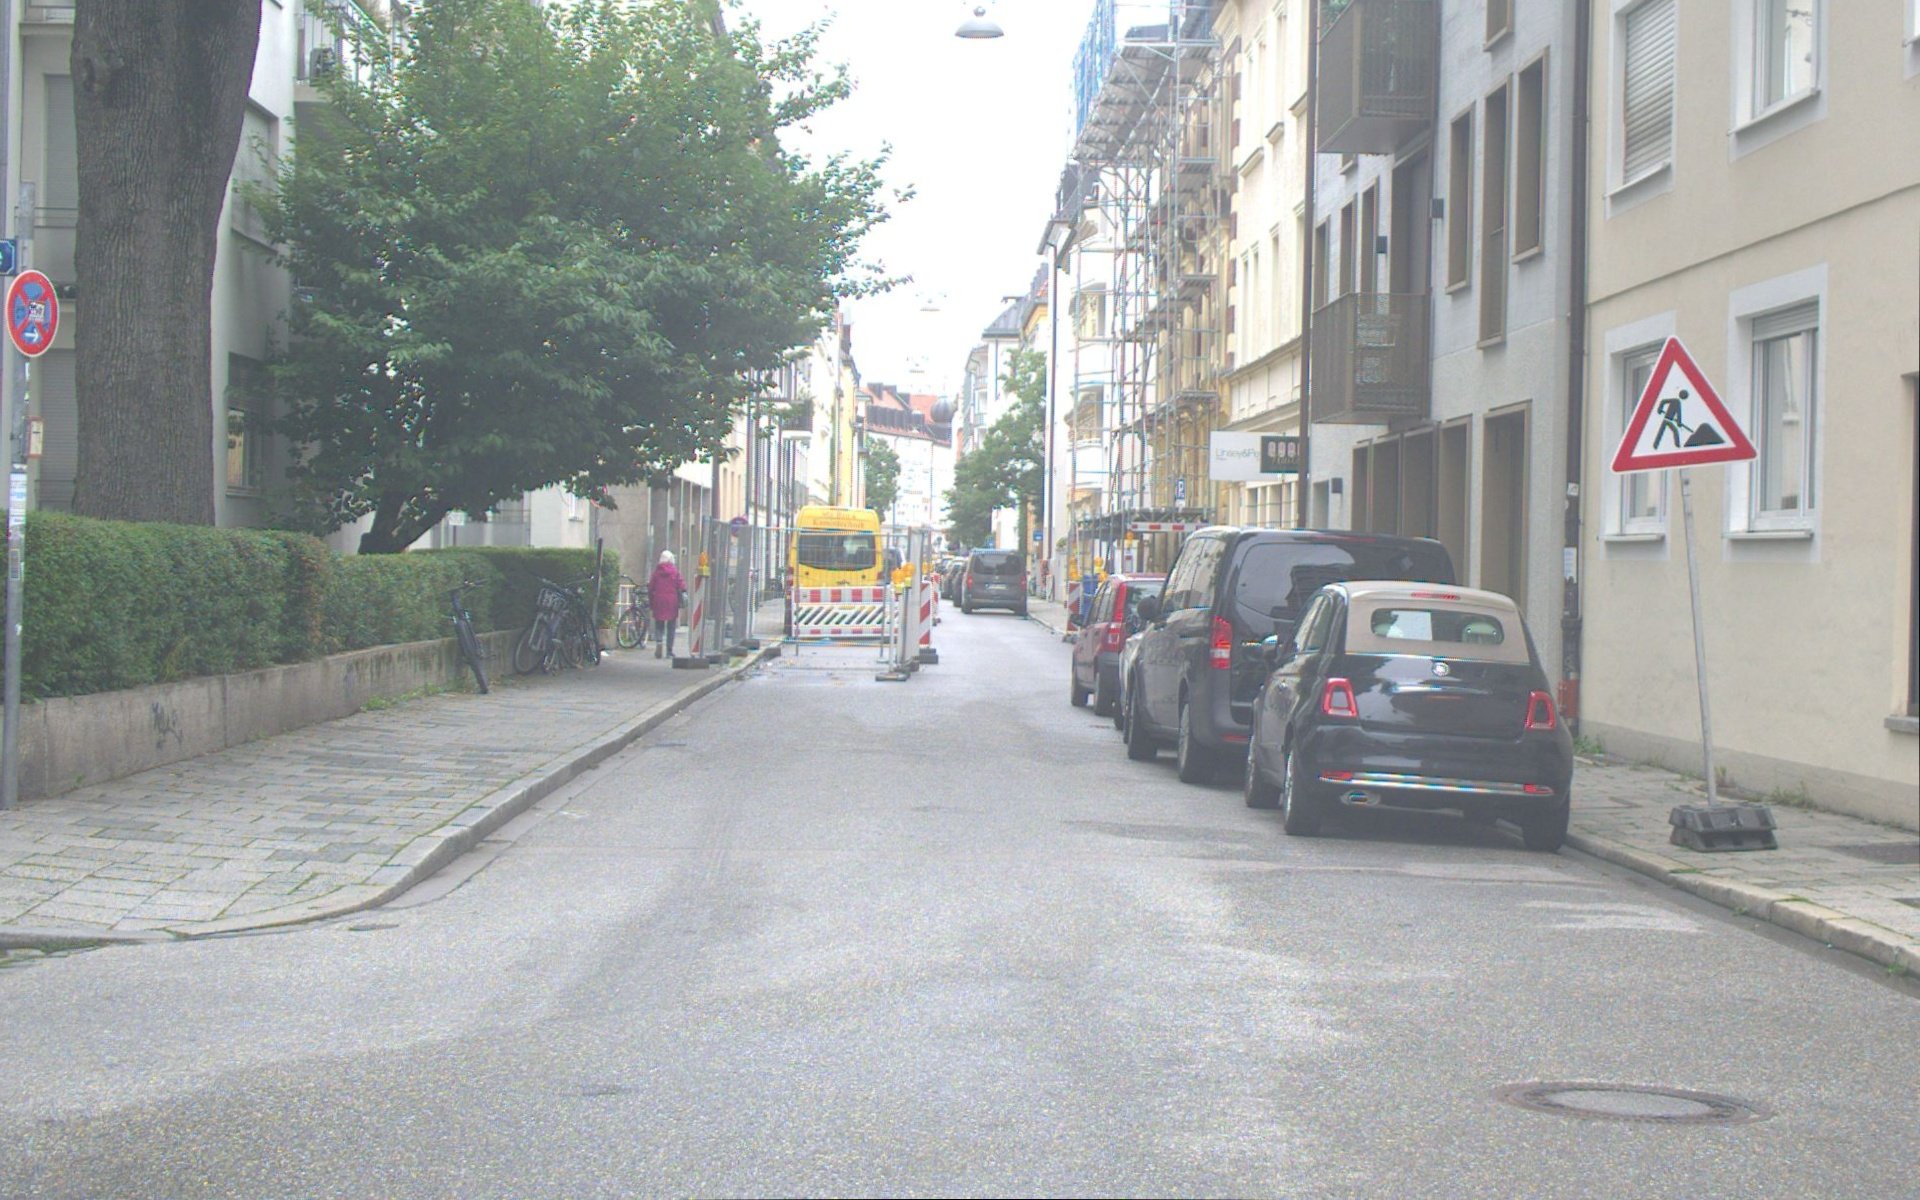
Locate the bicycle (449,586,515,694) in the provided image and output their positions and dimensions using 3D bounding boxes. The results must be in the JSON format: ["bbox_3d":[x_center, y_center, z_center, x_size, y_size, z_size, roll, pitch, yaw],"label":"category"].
[{"bbox_3d":[-4.670,0.376,33.655,0.414,1.017,1.854,0,0,-1],"label":"bicycle"}]

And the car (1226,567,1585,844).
[{"bbox_3d":[2.635,0.570,21.113,1.624,1.482,3.808,2,1,-1],"label":"car"}]

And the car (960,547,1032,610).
[{"bbox_3d":[1.067,-0.652,103.079,1.801,1.706,3.827,5,1,-3],"label":"car"}]

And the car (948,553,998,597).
[{"bbox_3d":[0.491,-0.960,131.544,1.801,1.608,4.000,2,1,-1],"label":"car"}]

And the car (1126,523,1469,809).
[{"bbox_3d":[2.402,0.419,25.471,1.801,1.814,4.001,5,1,-3],"label":"car"}]

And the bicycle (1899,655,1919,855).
[{"bbox_3d":[5.165,0.799,17.121,0.474,1.022,1.705,-1,0,-1],"label":"bicycle"}]

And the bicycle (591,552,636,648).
[{"bbox_3d":[-5.240,-0.004,51.992,0.514,1.413,1.934,0,0,-1],"label":"bicycle"}]

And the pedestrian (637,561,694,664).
[{"bbox_3d":[-4.317,0.179,50.424,0.756,1.486,0.831,0,0,-1],"label":"pedestrian"}]

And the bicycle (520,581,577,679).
[{"bbox_3d":[-4.680,0.326,39.192,0.446,1.069,2.468,0,0,-2],"label":"bicycle"}]

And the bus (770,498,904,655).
[{"bbox_3d":[-2.485,-0.480,71.166,2.592,3.091,6.306,0,0,-1],"label":"bus"}]

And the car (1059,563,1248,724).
[{"bbox_3d":[2.047,0.427,37.353,1.635,1.509,3.829,5,1,-1],"label":"car"}]

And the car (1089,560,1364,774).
[{"bbox_3d":[2.211,0.517,29.566,1.801,1.562,4.000,5,1,-2],"label":"car"}]

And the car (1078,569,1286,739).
[{"bbox_3d":[2.118,0.483,33.579,1.563,1.429,3.416,5,1,-2],"label":"car"}]
